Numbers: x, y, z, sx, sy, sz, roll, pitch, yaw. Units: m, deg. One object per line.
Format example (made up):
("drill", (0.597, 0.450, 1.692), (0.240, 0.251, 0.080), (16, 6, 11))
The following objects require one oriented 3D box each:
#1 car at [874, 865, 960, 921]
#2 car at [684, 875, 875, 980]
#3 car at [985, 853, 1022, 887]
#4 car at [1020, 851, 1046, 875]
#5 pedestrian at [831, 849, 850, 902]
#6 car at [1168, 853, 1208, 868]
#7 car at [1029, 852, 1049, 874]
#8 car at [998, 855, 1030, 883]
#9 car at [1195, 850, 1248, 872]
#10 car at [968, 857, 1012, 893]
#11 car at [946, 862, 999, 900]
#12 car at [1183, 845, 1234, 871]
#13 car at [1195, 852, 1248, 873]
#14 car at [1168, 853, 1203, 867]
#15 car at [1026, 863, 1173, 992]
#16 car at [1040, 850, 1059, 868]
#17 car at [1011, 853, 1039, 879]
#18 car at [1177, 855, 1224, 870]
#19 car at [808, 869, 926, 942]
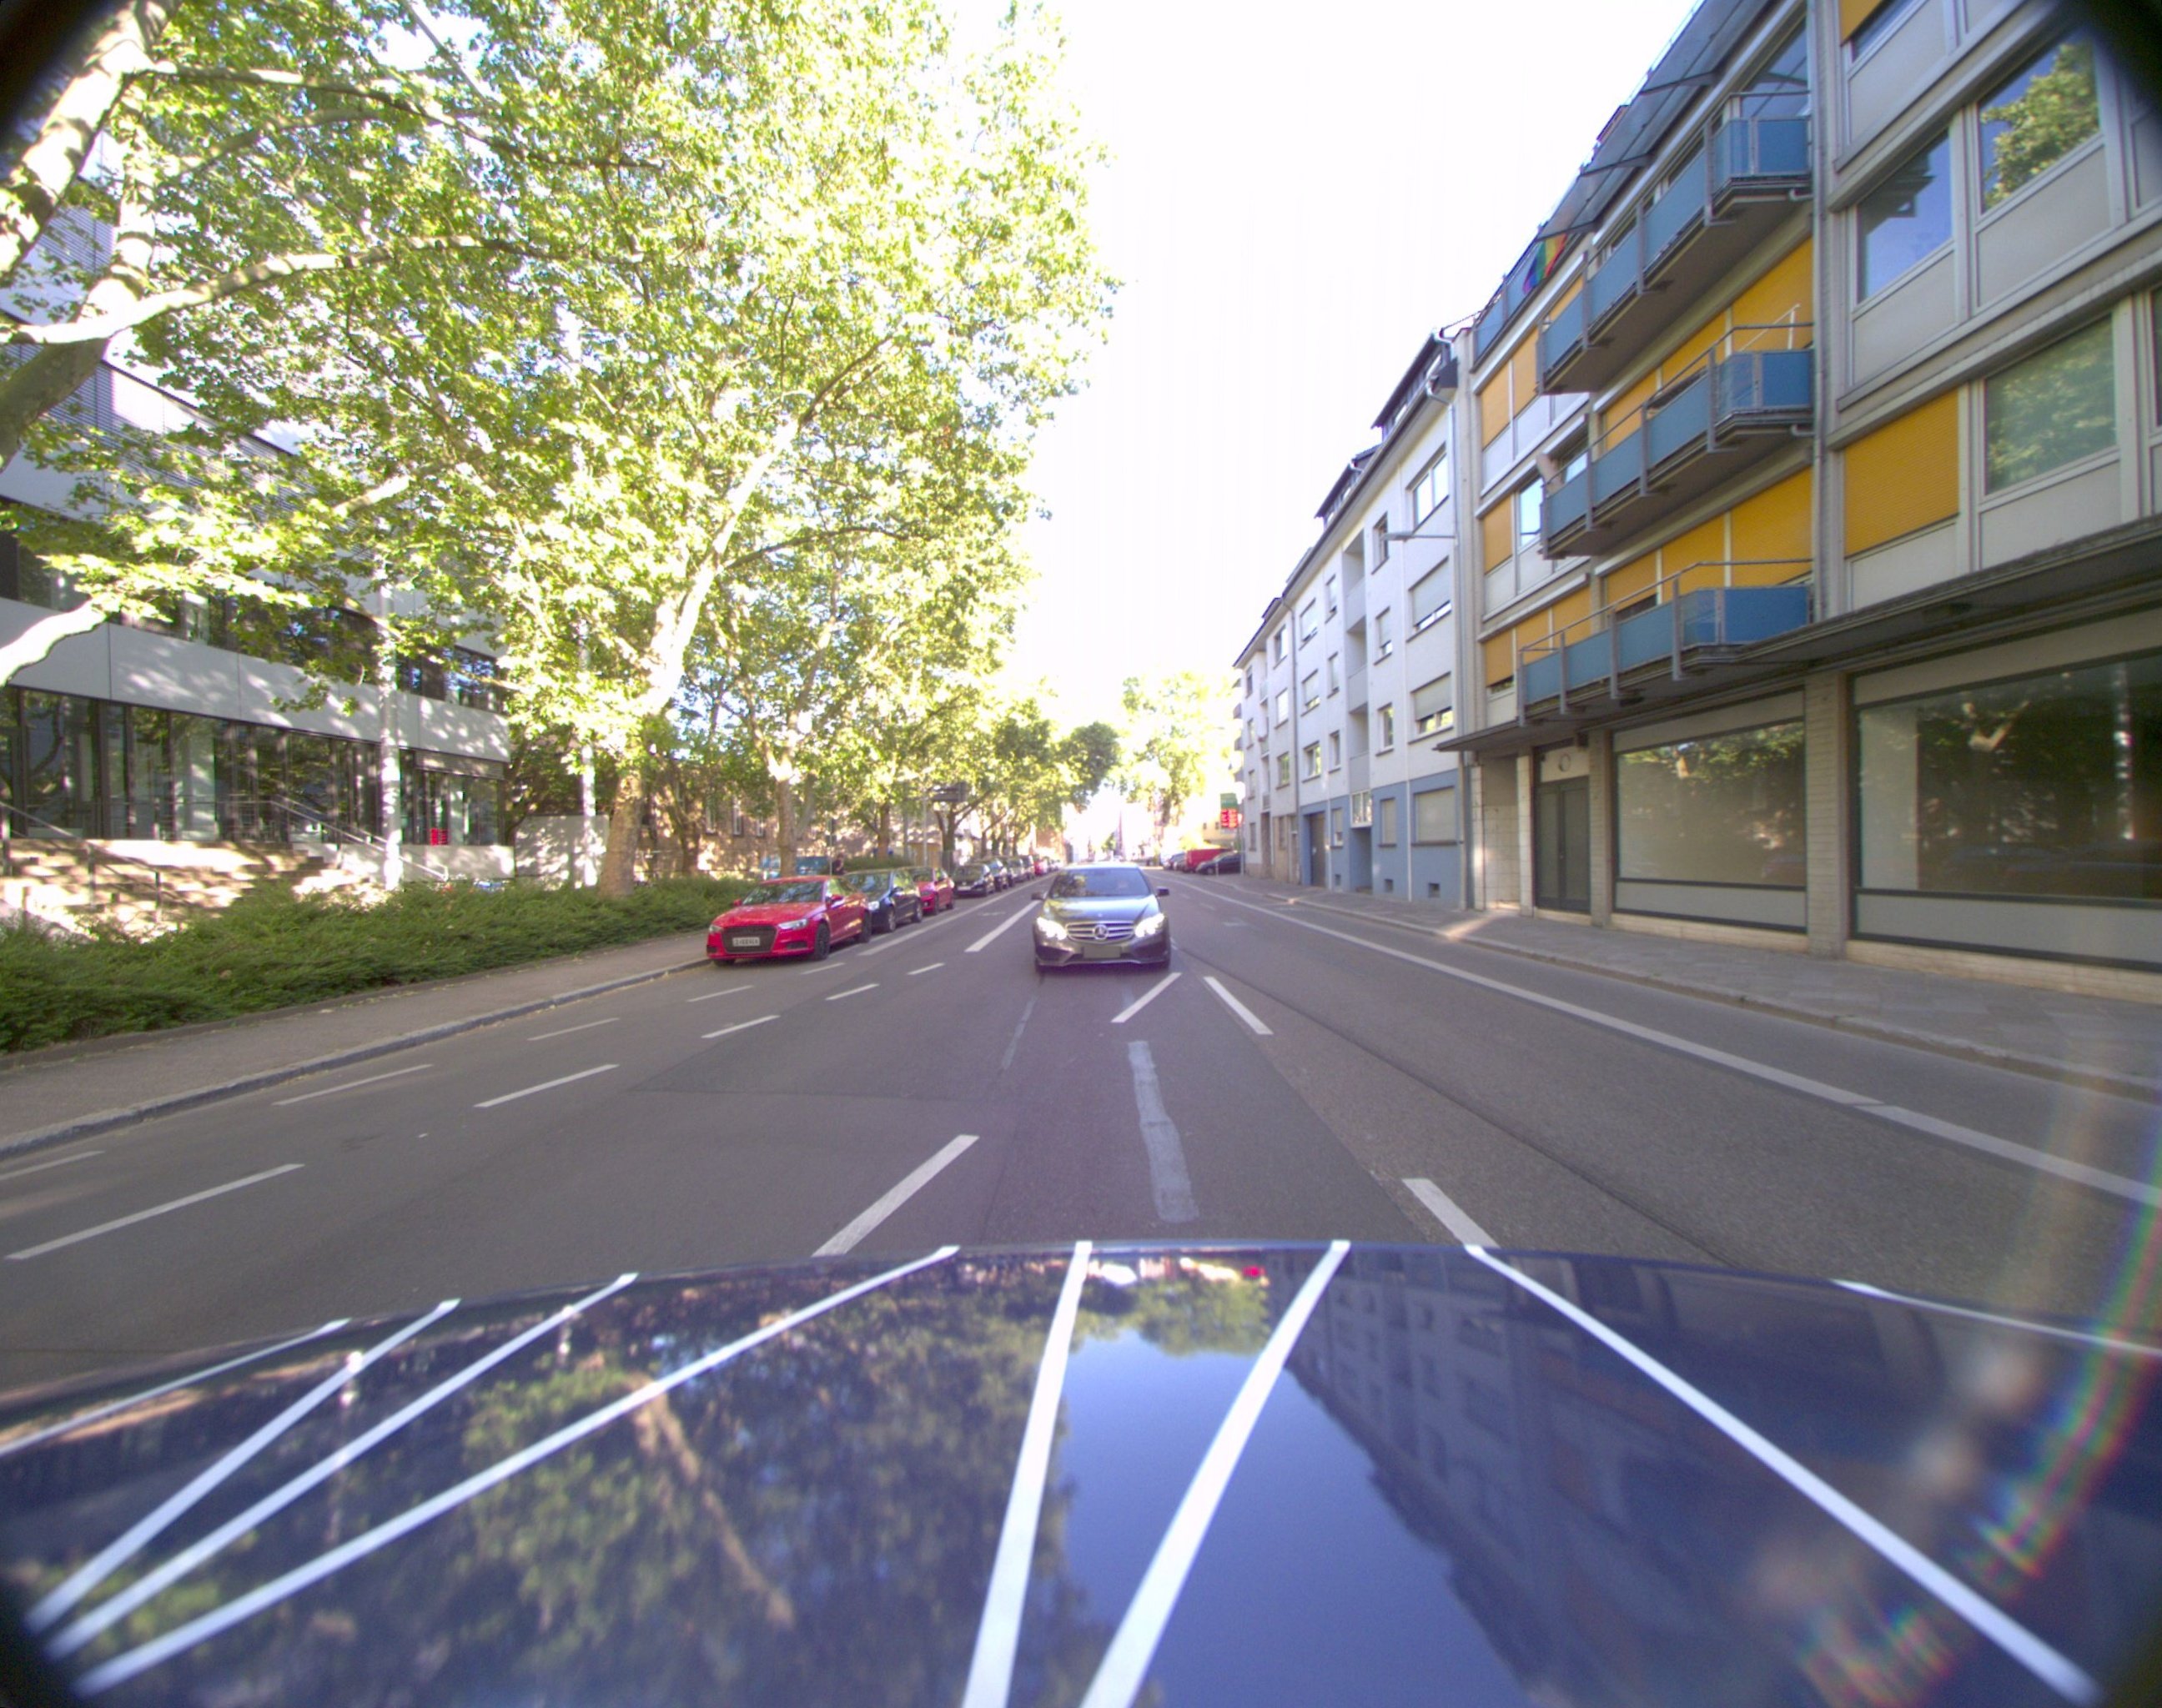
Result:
("car", (-5.010, 1.138, 23.676), (1.692, 1.441, 3.923), (-2, 1, 1))
("car", (-5.158, 1.184, 13.649), (1.794, 1.384, 3.999), (-2, 1, 0))
("car", (-4.451, 0.860, 44.232), (1.634, 1.781, 4.576), (-2, 1, 0))
("car", (-4.165, 0.730, 66.083), (1.915, 1.940, 3.769), (-2, 1, 0))
("pedestrian", (-9.193, 0.805, 29.010), (0.552, 2.002, 0.562), (-2, 1, -11))
("car", (10.273, 0.634, 73.020), (3.687, 1.238, 1.345), (-2, 1, 2))
("car", (-3.897, 0.814, 70.995), (1.599, 1.835, 3.769), (-2, 1, 0))
("car", (-4.349, 0.946, 50.104), (1.634, 1.604, 4.576), (-2, 1, 0))
("car", (10.539, 0.490, 57.089), (3.687, 1.503, 1.490), (-2, 1, 2))
("car", (-4.514, 0.998, 38.099), (1.634, 1.569, 4.231), (-2, 1, 0))
("car", (-4.689, 1.117, 33.228), (1.692, 1.414, 3.923), (-2, 1, 0))
("car", (10.066, 0.327, 59.934), (3.688, 1.897, 1.490), (-2, -1, -1))
("car", (10.096, 0.595, 54.720), (3.508, 1.380, 1.490), (-2, 1, 2))
("car", (10.329, 0.589, 75.458), (3.271, 1.238, 1.345), (-2, 1, 2))
("car", (0.265, 0.930, 11.455), (1.752, 1.423, 4.265), (-2, 1, 1))
("car", (-3.799, 0.594, 92.417), (1.998, 2.002, 4.000), (-2, 0, 1))
("car", (-4.033, 0.822, 55.231), (1.634, 1.725, 3.769), (-2, 1, 0))
("car", (9.817, 0.699, 62.579), (3.687, 1.122, 1.345), (-2, 1, 2))
("car", (-5.047, 1.167, 18.402), (1.669, 1.410, 3.697), (-2, 1, 1))
